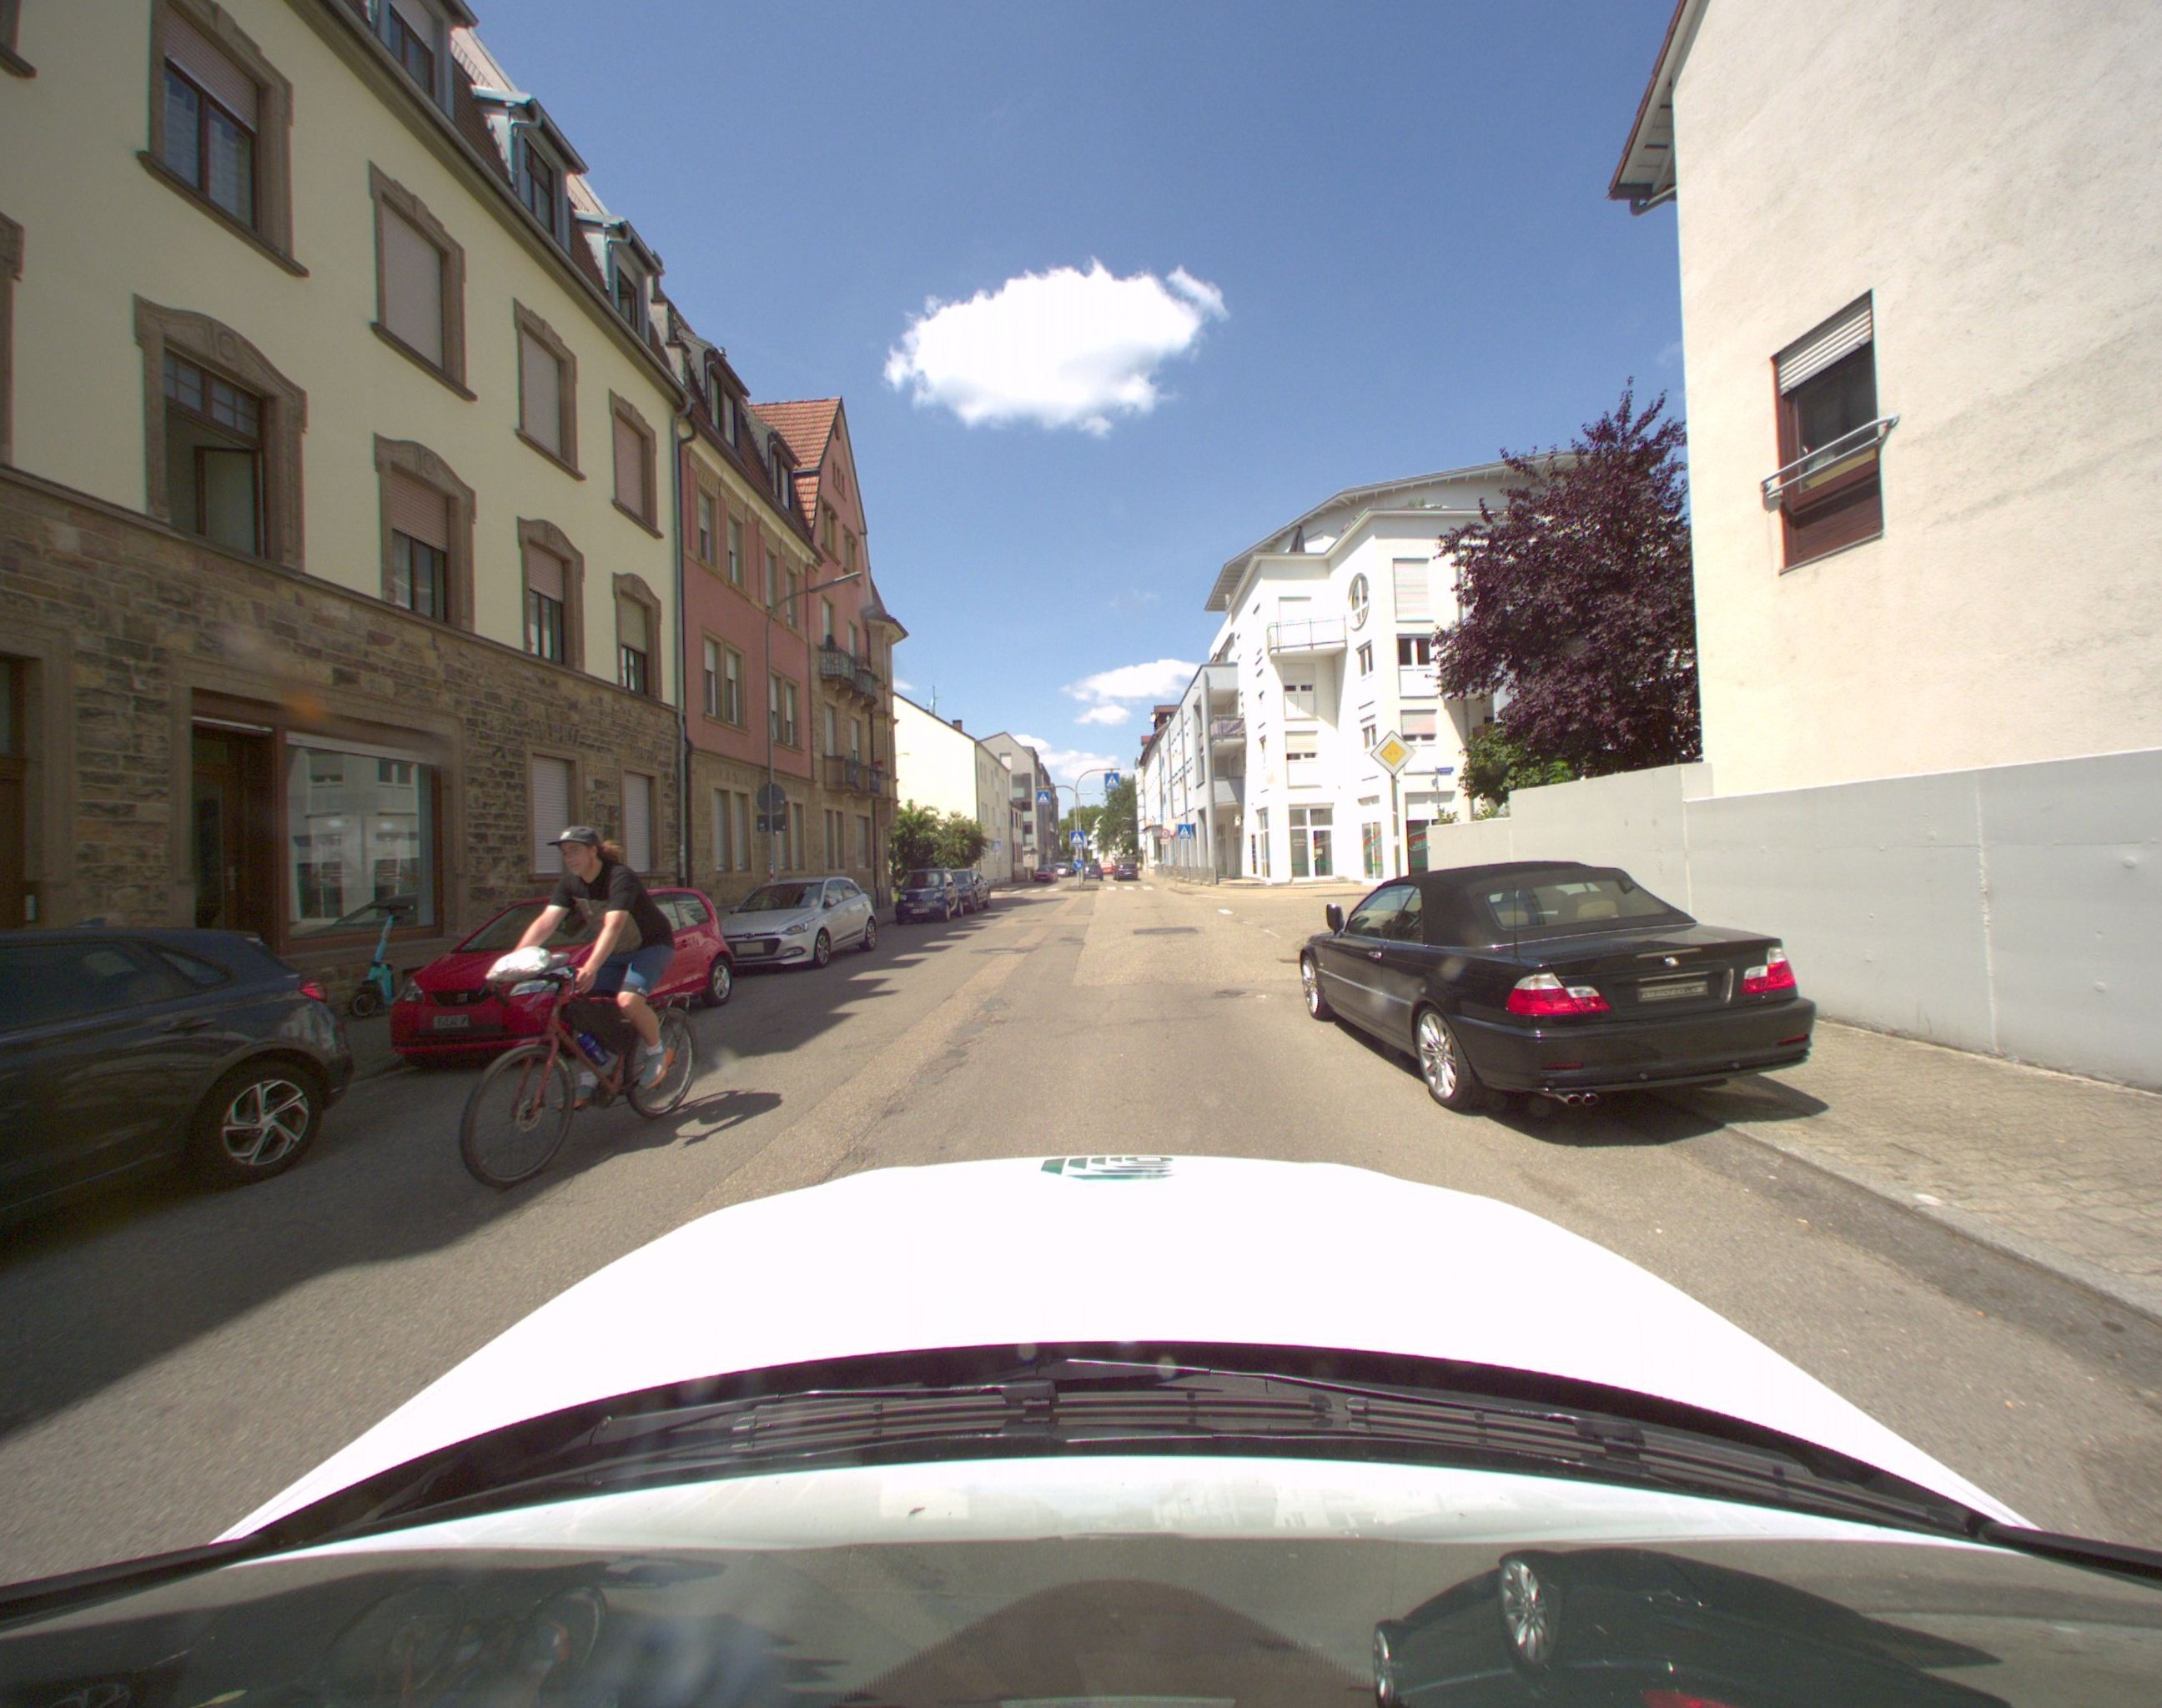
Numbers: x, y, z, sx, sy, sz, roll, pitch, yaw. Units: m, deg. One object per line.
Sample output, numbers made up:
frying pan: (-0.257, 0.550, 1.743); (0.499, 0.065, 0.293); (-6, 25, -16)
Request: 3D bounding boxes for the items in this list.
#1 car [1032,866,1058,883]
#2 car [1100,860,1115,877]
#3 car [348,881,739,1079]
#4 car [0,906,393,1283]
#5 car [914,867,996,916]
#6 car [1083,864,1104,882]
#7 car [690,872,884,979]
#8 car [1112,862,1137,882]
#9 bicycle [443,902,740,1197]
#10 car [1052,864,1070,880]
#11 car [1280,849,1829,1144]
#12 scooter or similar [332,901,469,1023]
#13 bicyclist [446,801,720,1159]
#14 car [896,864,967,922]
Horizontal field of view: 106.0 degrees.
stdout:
car: (-3.212, 1.844, 73.541); (1.826, 1.417, 4.293); (-2, -1, 3)
car: (3.294, 1.809, 102.092); (1.832, 2.013, 4.001); (-2, 0, 1)
car: (-5.100, 1.078, 8.360); (1.593, 1.442, 3.495); (-3, -1, 1)
car: (-5.389, 1.078, 3.098); (1.866, 1.438, 4.218); (-3, 0, 1)
car: (-4.193, 1.207, 27.884); (1.775, 1.458, 4.638); (-3, -1, 3)
car: (1.108, 1.591, 69.562); (1.709, 1.402, 4.001); (-3, 0, 1)
car: (-4.866, 1.111, 14.126); (1.628, 1.431, 4.021); (-4, -1, 3)
car: (3.468, 1.458, 65.886); (1.705, 1.508, 3.998); (-2, -1, -1)
bicycle: (-2.712, 0.979, 4.782); (0.227, 1.275, 1.888); (-5, -1, 10)
car: (-2.439, 2.188, 101.058); (1.749, 1.892, 4.342); (0, -1, 5)
car: (2.864, 0.722, 6.154); (1.651, 1.376, 4.238); (-3, -1, 0)
scooter or similar: (-7.752, 1.188, 9.343); (0.373, 1.220, 1.320); (-3, -1, 2)
bicyclist: (-2.766, 0.641, 4.663); (0.637, 1.762, 1.170); (-4, -1, 9)
car: (-4.286, 1.103, 23.725); (1.431, 1.523, 2.696); (-3, -1, 1)
